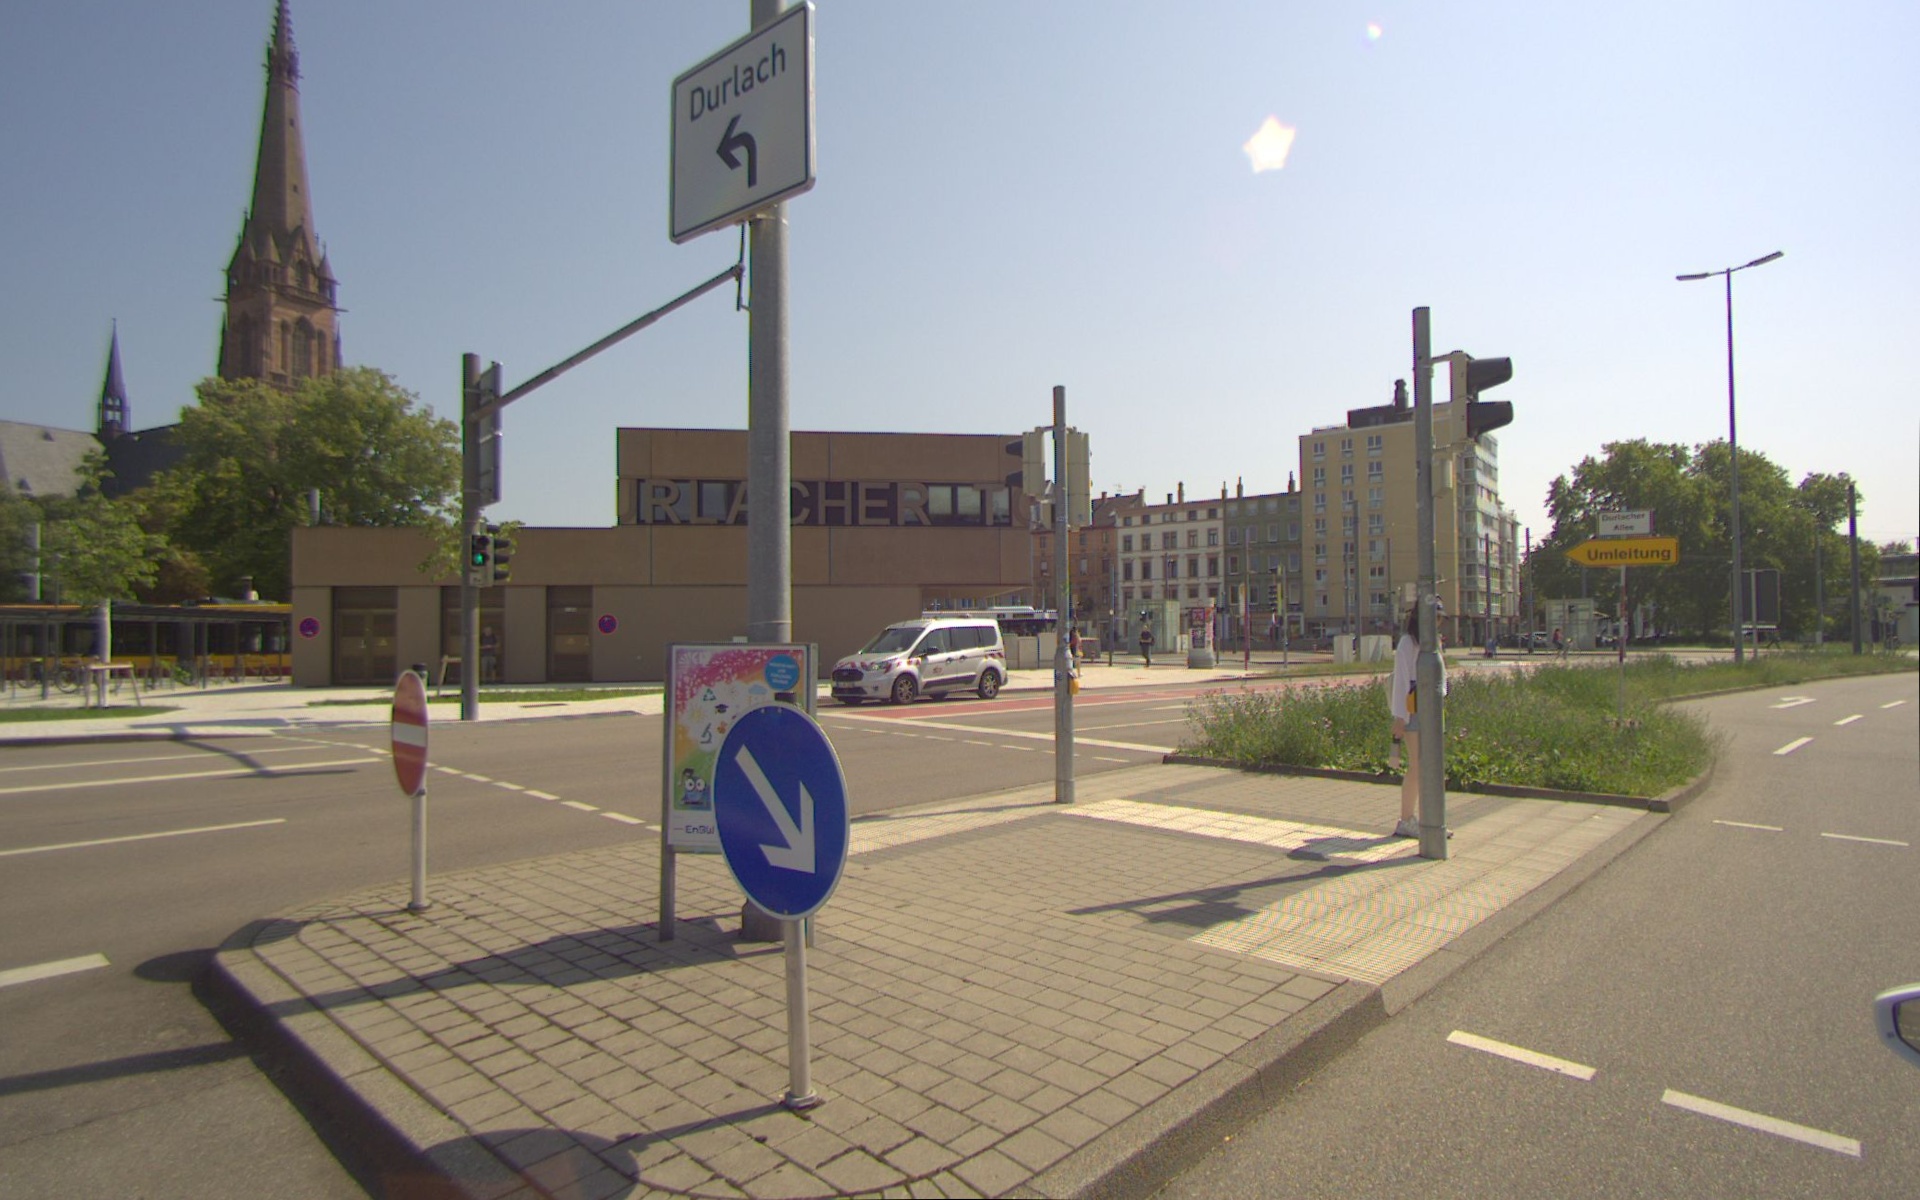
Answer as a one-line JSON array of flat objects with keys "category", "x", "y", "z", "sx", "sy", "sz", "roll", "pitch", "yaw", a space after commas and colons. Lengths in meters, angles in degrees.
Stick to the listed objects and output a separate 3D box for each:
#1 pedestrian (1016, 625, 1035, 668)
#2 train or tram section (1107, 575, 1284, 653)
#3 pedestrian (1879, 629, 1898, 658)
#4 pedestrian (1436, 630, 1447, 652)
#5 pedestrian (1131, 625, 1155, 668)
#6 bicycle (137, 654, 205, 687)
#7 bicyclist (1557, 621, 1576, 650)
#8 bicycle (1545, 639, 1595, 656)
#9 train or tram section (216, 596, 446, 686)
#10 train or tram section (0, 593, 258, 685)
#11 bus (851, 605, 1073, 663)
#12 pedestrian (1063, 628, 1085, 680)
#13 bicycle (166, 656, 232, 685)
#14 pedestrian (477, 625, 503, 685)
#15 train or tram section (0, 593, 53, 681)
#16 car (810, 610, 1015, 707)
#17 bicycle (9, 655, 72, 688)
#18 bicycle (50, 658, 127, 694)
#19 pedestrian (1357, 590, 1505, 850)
[{"category": "pedestrian", "x": 2.786, "y": 1.954, "z": 42.514, "sx": 0.543, "sy": 1.786, "sz": 0.694, "roll": 0, "pitch": -2, "yaw": -22}, {"category": "train or tram section", "x": 11.933, "y": 0.743, "z": 51.216, "sx": 8.094, "sy": 3.616, "sz": 3.142, "roll": -1, "pitch": -3, "yaw": -9}, {"category": "pedestrian", "x": 43.313, "y": 2.029, "z": 46.855, "sx": 0.588, "sy": 1.286, "sz": 0.503, "roll": -2, "pitch": 0, "yaw": 37}, {"category": "pedestrian", "x": 37.363, "y": 3.168, "z": 77.930, "sx": 0.640, "sy": 1.654, "sz": 0.811, "roll": -2, "pitch": -2, "yaw": 38}, {"category": "pedestrian", "x": 7.489, "y": 1.897, "z": 41.069, "sx": 0.637, "sy": 1.725, "sz": 0.806, "roll": -2, "pitch": -2, "yaw": 40}, {"category": "bicycle", "x": -26.796, "y": 2.383, "z": 34.135, "sx": 1.709, "sy": 1.053, "sz": 0.511, "roll": 0, "pitch": -2, "yaw": -21}, {"category": "bicyclist", "x": 34.804, "y": 2.045, "z": 57.606, "sx": 0.828, "sy": 1.664, "sz": 0.604, "roll": -2, "pitch": -2, "yaw": 37}, {"category": "bicycle", "x": 34.921, "y": 2.722, "z": 57.493, "sx": 2.379, "sy": 0.966, "sz": 0.601, "roll": -2, "pitch": -2, "yaw": 38}, {"category": "train or tram section", "x": -27.898, "y": 1.827, "z": 44.941, "sx": 8.094, "sy": 3.644, "sz": 3.159, "roll": -1, "pitch": -3, "yaw": -8}, {"category": "train or tram section", "x": -36.018, "y": 1.707, "z": 43.720, "sx": 8.370, "sy": 3.644, "sz": 3.159, "roll": -1, "pitch": -3, "yaw": -8}, {"category": "bus", "x": 0.053, "y": 1.912, "z": 56.820, "sx": 12.253, "sy": 3.111, "sz": 3.103, "roll": 0, "pitch": -2, "yaw": -8}, {"category": "pedestrian", "x": 3.810, "y": 1.801, "z": 33.645, "sx": 0.615, "sy": 1.725, "sz": 0.788, "roll": -1, "pitch": -2, "yaw": 15}, {"category": "bicycle", "x": -27.094, "y": 2.498, "z": 35.776, "sx": 1.823, "sy": 0.998, "sz": 0.512, "roll": -1, "pitch": -2, "yaw": -10}, {"category": "pedestrian", "x": -13.533, "y": 1.584, "z": 28.922, "sx": 0.526, "sy": 1.700, "sz": 0.568, "roll": -1, "pitch": -2, "yaw": -9}, {"category": "train or tram section", "x": -44.287, "y": 1.697, "z": 42.481, "sx": 8.370, "sy": 3.644, "sz": 3.159, "roll": -1, "pitch": -3, "yaw": -8}, {"category": "car", "x": -0.950, "y": 1.259, "z": 21.923, "sx": 1.973, "sy": 1.883, "sz": 4.310, "roll": -5, "pitch": -5, "yaw": 42}, {"category": "bicycle", "x": -30.987, "y": 2.400, "z": 33.859, "sx": 1.610, "sy": 1.053, "sz": 0.412, "roll": -1, "pitch": -2, "yaw": -6}, {"category": "bicycle", "x": -26.674, "y": 2.315, "z": 30.756, "sx": 1.706, "sy": 1.053, "sz": 0.512, "roll": 0, "pitch": -2, "yaw": -15}, {"category": "pedestrian", "x": 3.307, "y": 0.809, "z": 7.100, "sx": 0.598, "sy": 1.717, "sz": 0.697, "roll": 0, "pitch": -2, "yaw": -18}]
